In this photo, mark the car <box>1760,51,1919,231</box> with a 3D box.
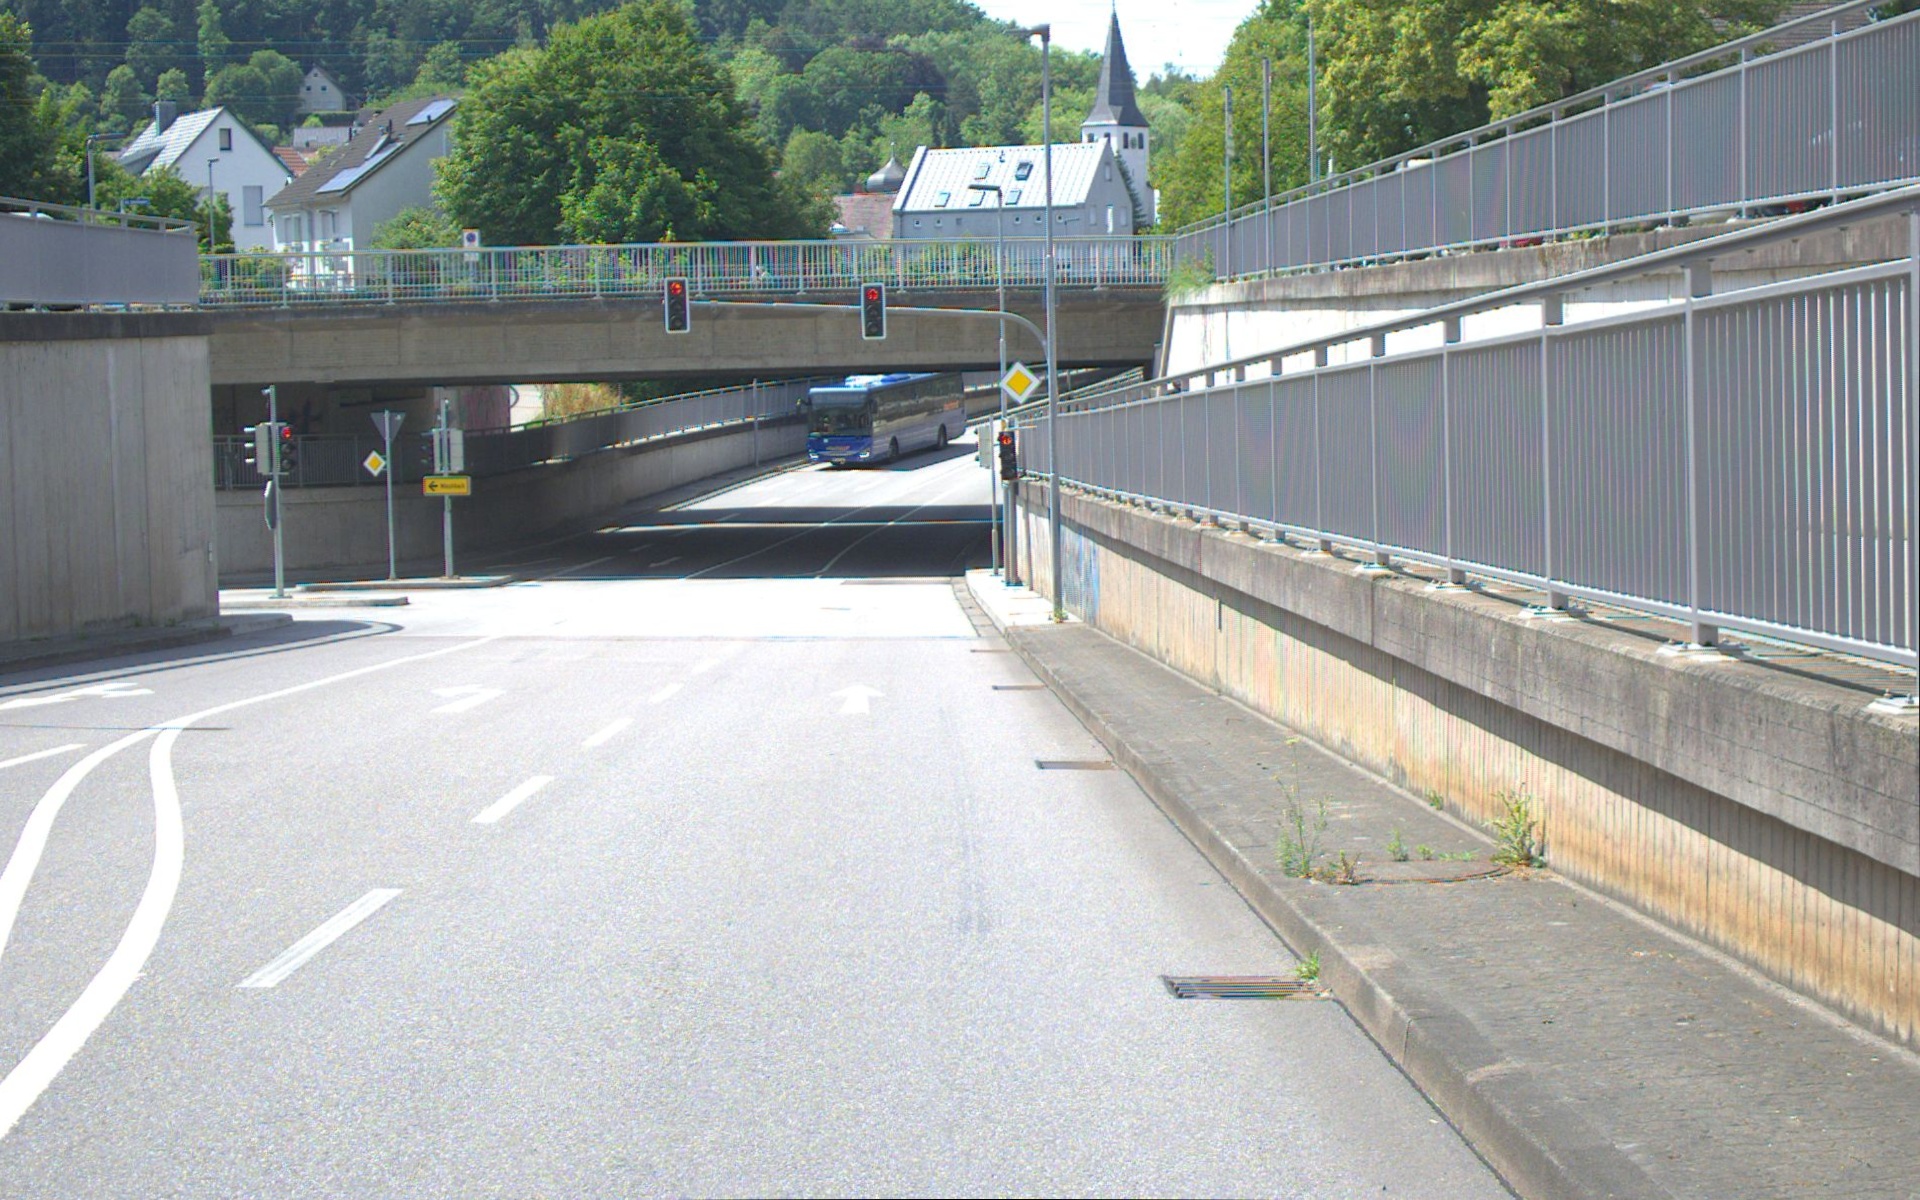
[{"bbox_3d":[9.624,-4.257,31.978,3.987,1.481,1.770,0,2,2],"label":"car"}]

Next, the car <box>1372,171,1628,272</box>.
[{"bbox_3d":[8.845,-6.211,56.555,3.987,1.481,1.770,0,2,2],"label":"car"}]

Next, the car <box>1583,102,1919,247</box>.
[{"bbox_3d":[9.327,-4.895,39.695,3.987,1.481,1.770,0,2,2],"label":"car"}]

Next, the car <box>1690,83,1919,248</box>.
[{"bbox_3d":[9.546,-4.380,34.752,3.987,1.481,1.770,0,2,2],"label":"car"}]

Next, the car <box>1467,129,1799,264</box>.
[{"bbox_3d":[8.655,-5.201,44.484,3.987,1.562,1.770,0,1,2],"label":"car"}]

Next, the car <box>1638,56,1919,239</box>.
[{"bbox_3d":[9.441,-4.848,36.973,3.987,1.764,1.770,0,1,2],"label":"car"}]

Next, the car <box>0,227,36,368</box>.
[{"bbox_3d":[-12.502,-3.640,41.293,1.822,1.699,4.224,-1,4,-3],"label":"car"}]

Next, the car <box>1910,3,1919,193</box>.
[{"bbox_3d":[9.609,-3.997,26.722,3.987,1.481,1.770,0,2,2],"label":"car"}]

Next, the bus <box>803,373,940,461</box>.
[{"bbox_3d":[-3.255,-7.049,131.237,2.582,3.161,12.373,0,4,11],"label":"bus"}]

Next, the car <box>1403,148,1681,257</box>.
[{"bbox_3d":[8.839,-6.045,52.448,3.987,1.481,1.770,0,2,2],"label":"car"}]

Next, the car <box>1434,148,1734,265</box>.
[{"bbox_3d":[8.814,-5.573,48.790,3.987,1.481,1.770,0,2,2],"label":"car"}]
